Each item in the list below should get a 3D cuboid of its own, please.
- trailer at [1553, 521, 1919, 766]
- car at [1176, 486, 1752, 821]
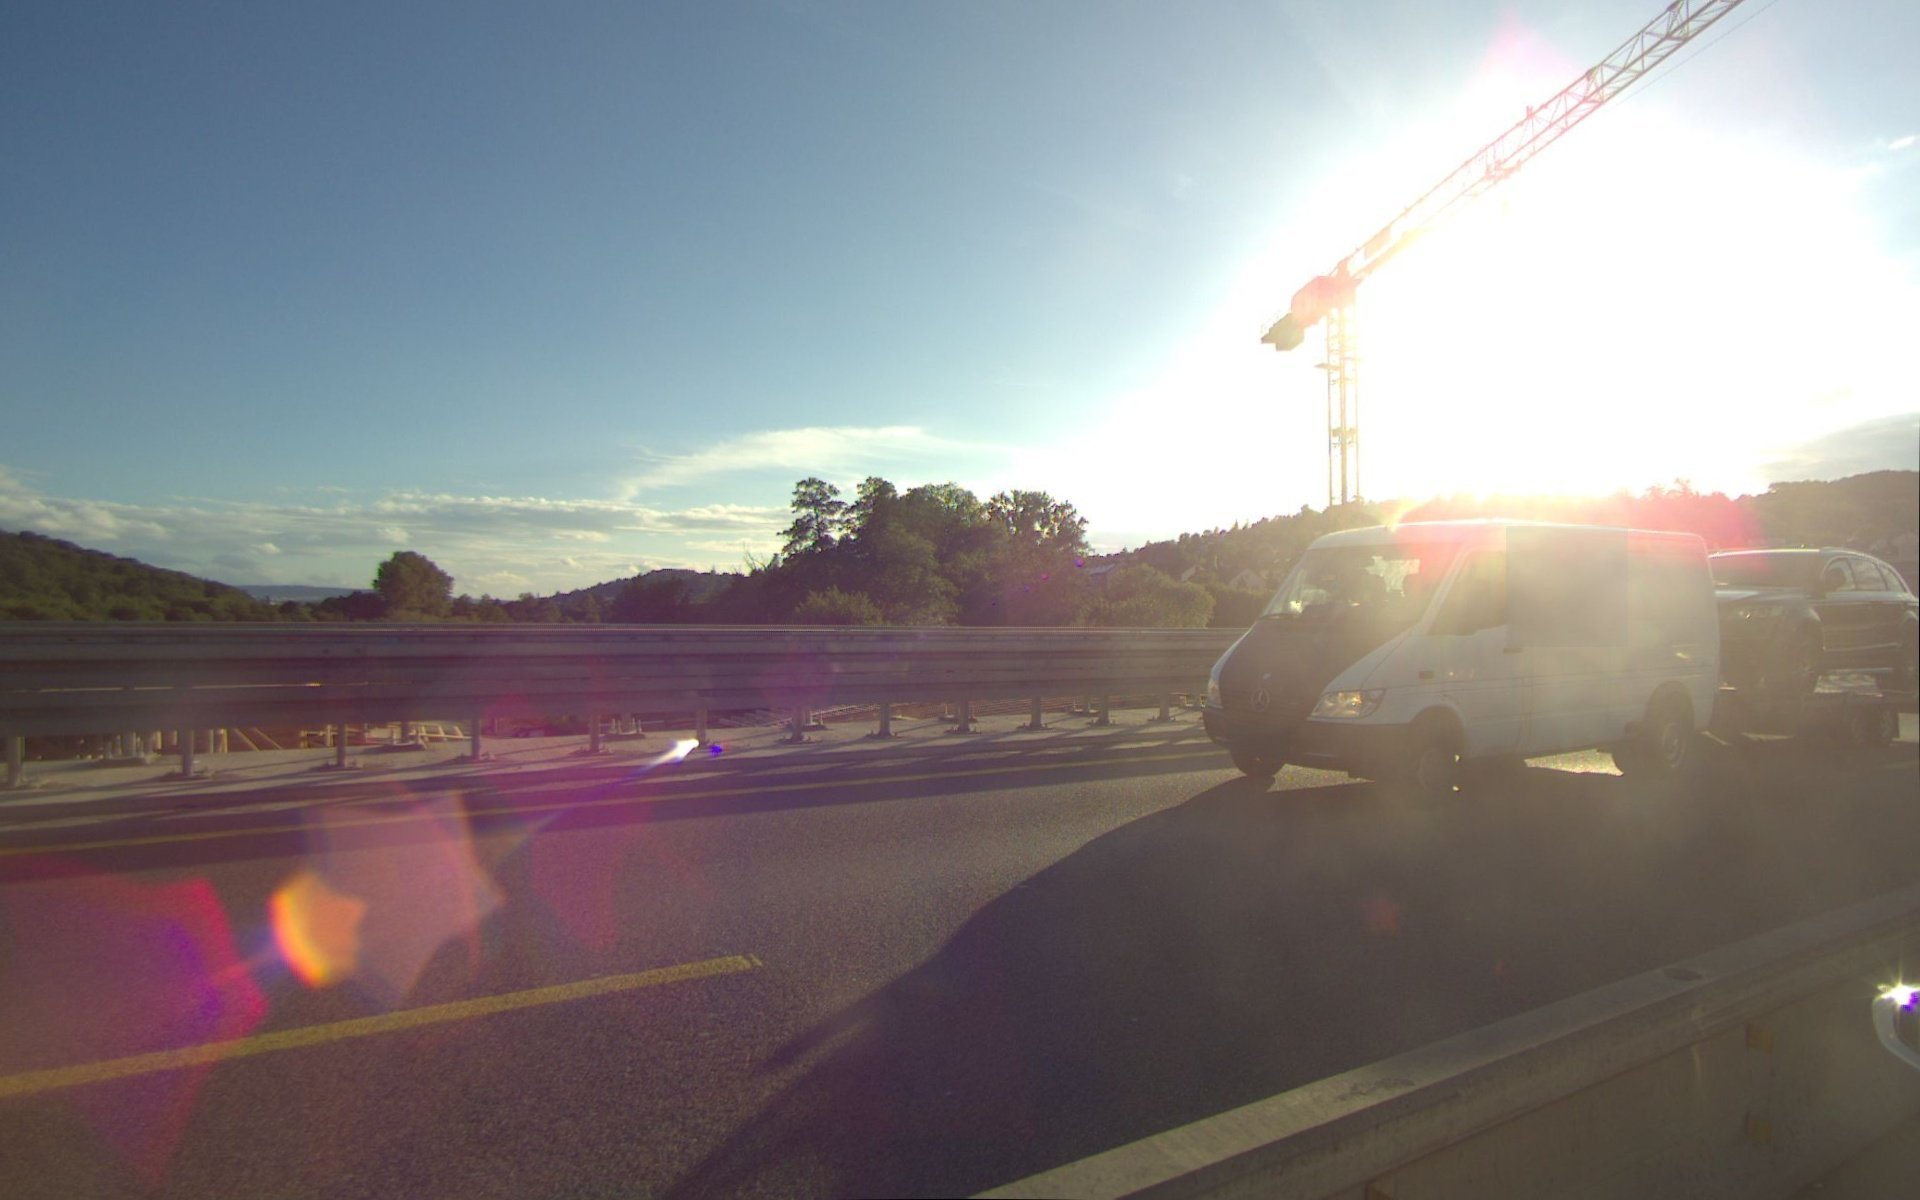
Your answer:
[{"bbox_3d":[9.736,0.463,12.281,5.159,2.453,2.066,1,0,-31],"label":"trailer"},{"bbox_3d":[4.916,0.415,9.429,5.865,2.354,1.983,1,0,-31],"label":"car"}]
